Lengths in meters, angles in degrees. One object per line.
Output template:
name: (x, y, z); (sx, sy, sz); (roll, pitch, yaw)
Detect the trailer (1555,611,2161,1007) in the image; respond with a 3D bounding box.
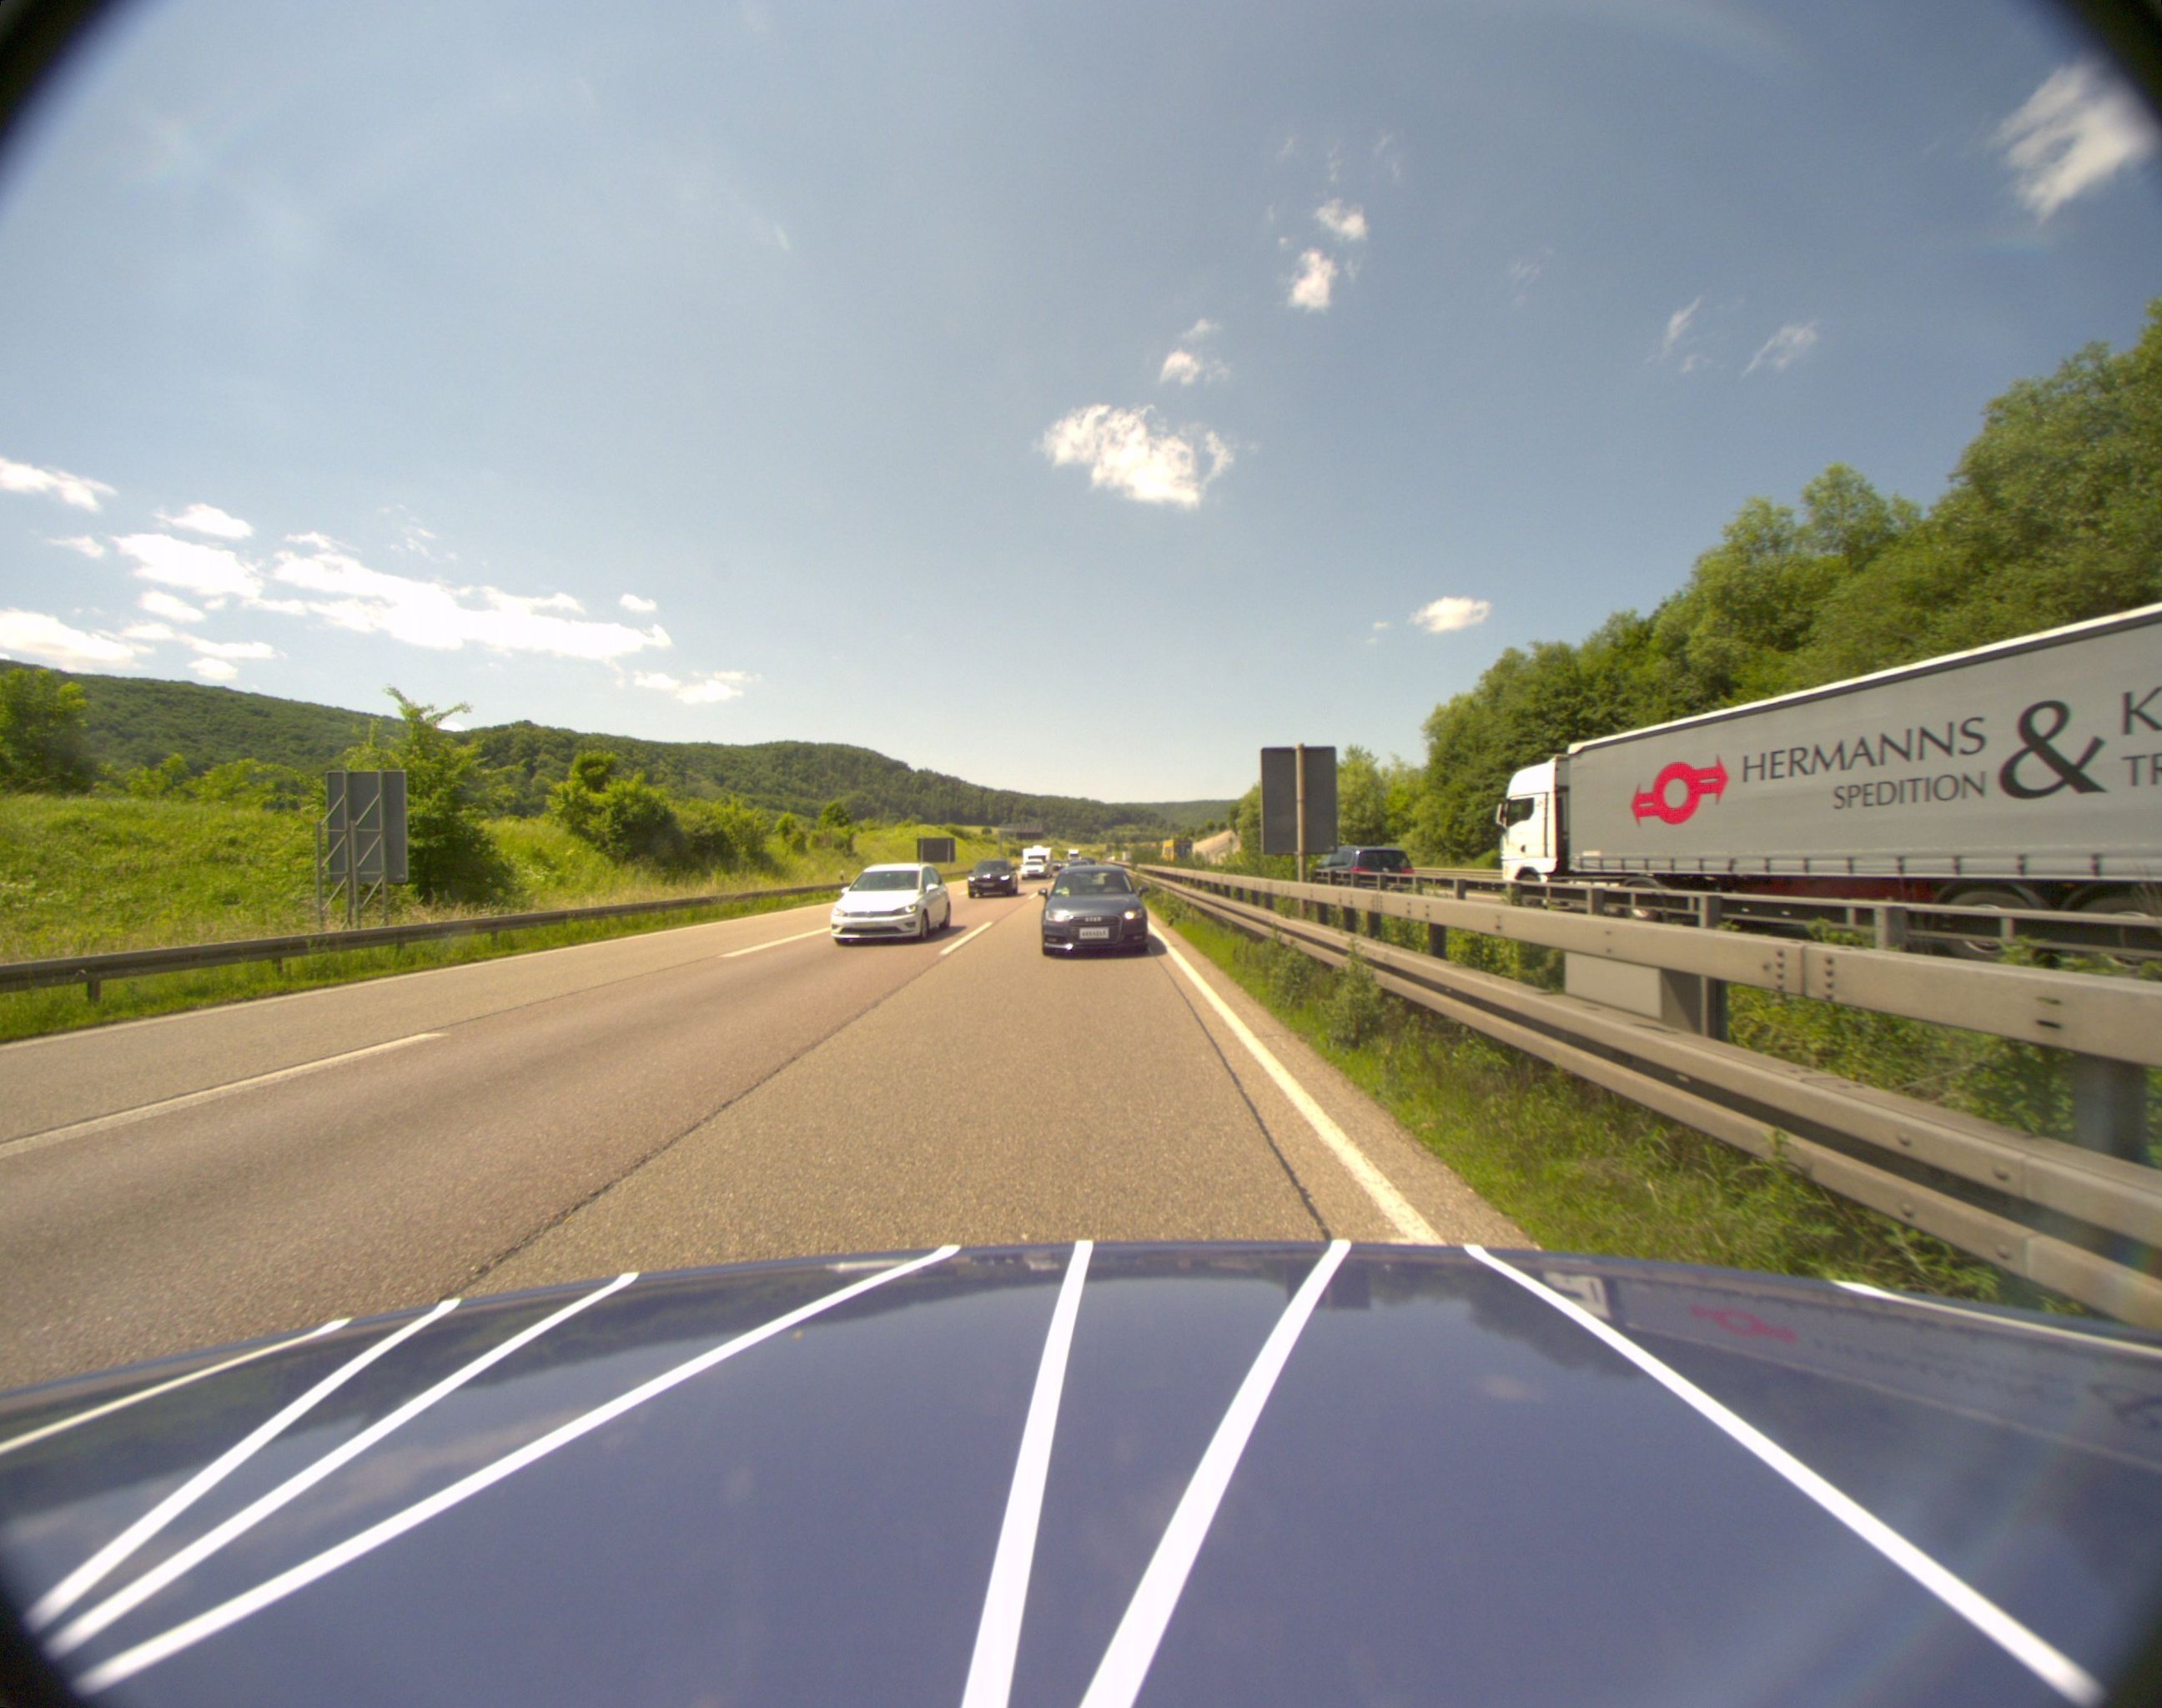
trailer: (12.301, -0.486, 10.542); (2.789, 3.976, 14.159); (-2, 0, 1)

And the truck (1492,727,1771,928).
truck: (12.428, -0.522, 17.835); (2.735, 3.978, 5.369); (0, 0, 1)

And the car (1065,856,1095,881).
car: (-0.041, 0.924, 51.252); (1.835, 1.586, 4.001); (-1, 0, 2)

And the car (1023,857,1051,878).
car: (-3.471, 1.040, 60.517); (1.821, 1.574, 4.000); (-1, 0, 1)

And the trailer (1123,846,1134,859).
trailer: (15.228, -0.330, 242.920); (2.863, 4.052, 11.263); (0, 0, 0)

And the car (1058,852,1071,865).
car: (-2.656, 0.674, 123.459); (1.999, 2.002, 3.999); (-1, 0, -3)

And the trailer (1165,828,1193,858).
trailer: (14.009, -1.480, 109.296); (2.587, 3.981, 12.601); (-2, 0, 1)

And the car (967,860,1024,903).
car: (-3.719, 1.167, 33.781); (1.893, 1.761, 4.172); (-1, 0, 2)

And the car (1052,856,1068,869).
car: (-2.526, 0.980, 93.085); (1.711, 1.542, 4.000); (-1, 0, 1)

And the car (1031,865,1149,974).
car: (0.262, 0.941, 12.496); (1.591, 1.401, 4.001); (-2, 0, 4)

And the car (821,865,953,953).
car: (-3.965, 1.053, 16.192); (1.777, 1.532, 4.054); (-2, 0, -1)

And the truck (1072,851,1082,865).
truck: (-0.984, 1.084, 207.648); (2.336, 3.623, 7.006); (-2, 0, 1)

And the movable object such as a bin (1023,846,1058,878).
movable object such as a bin: (-3.510, 0.658, 67.669); (2.481, 2.616, 6.709); (-2, 0, 1)

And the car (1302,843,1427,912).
car: (8.189, 0.626, 22.468); (1.927, 1.786, 4.600); (-2, 0, 0)
